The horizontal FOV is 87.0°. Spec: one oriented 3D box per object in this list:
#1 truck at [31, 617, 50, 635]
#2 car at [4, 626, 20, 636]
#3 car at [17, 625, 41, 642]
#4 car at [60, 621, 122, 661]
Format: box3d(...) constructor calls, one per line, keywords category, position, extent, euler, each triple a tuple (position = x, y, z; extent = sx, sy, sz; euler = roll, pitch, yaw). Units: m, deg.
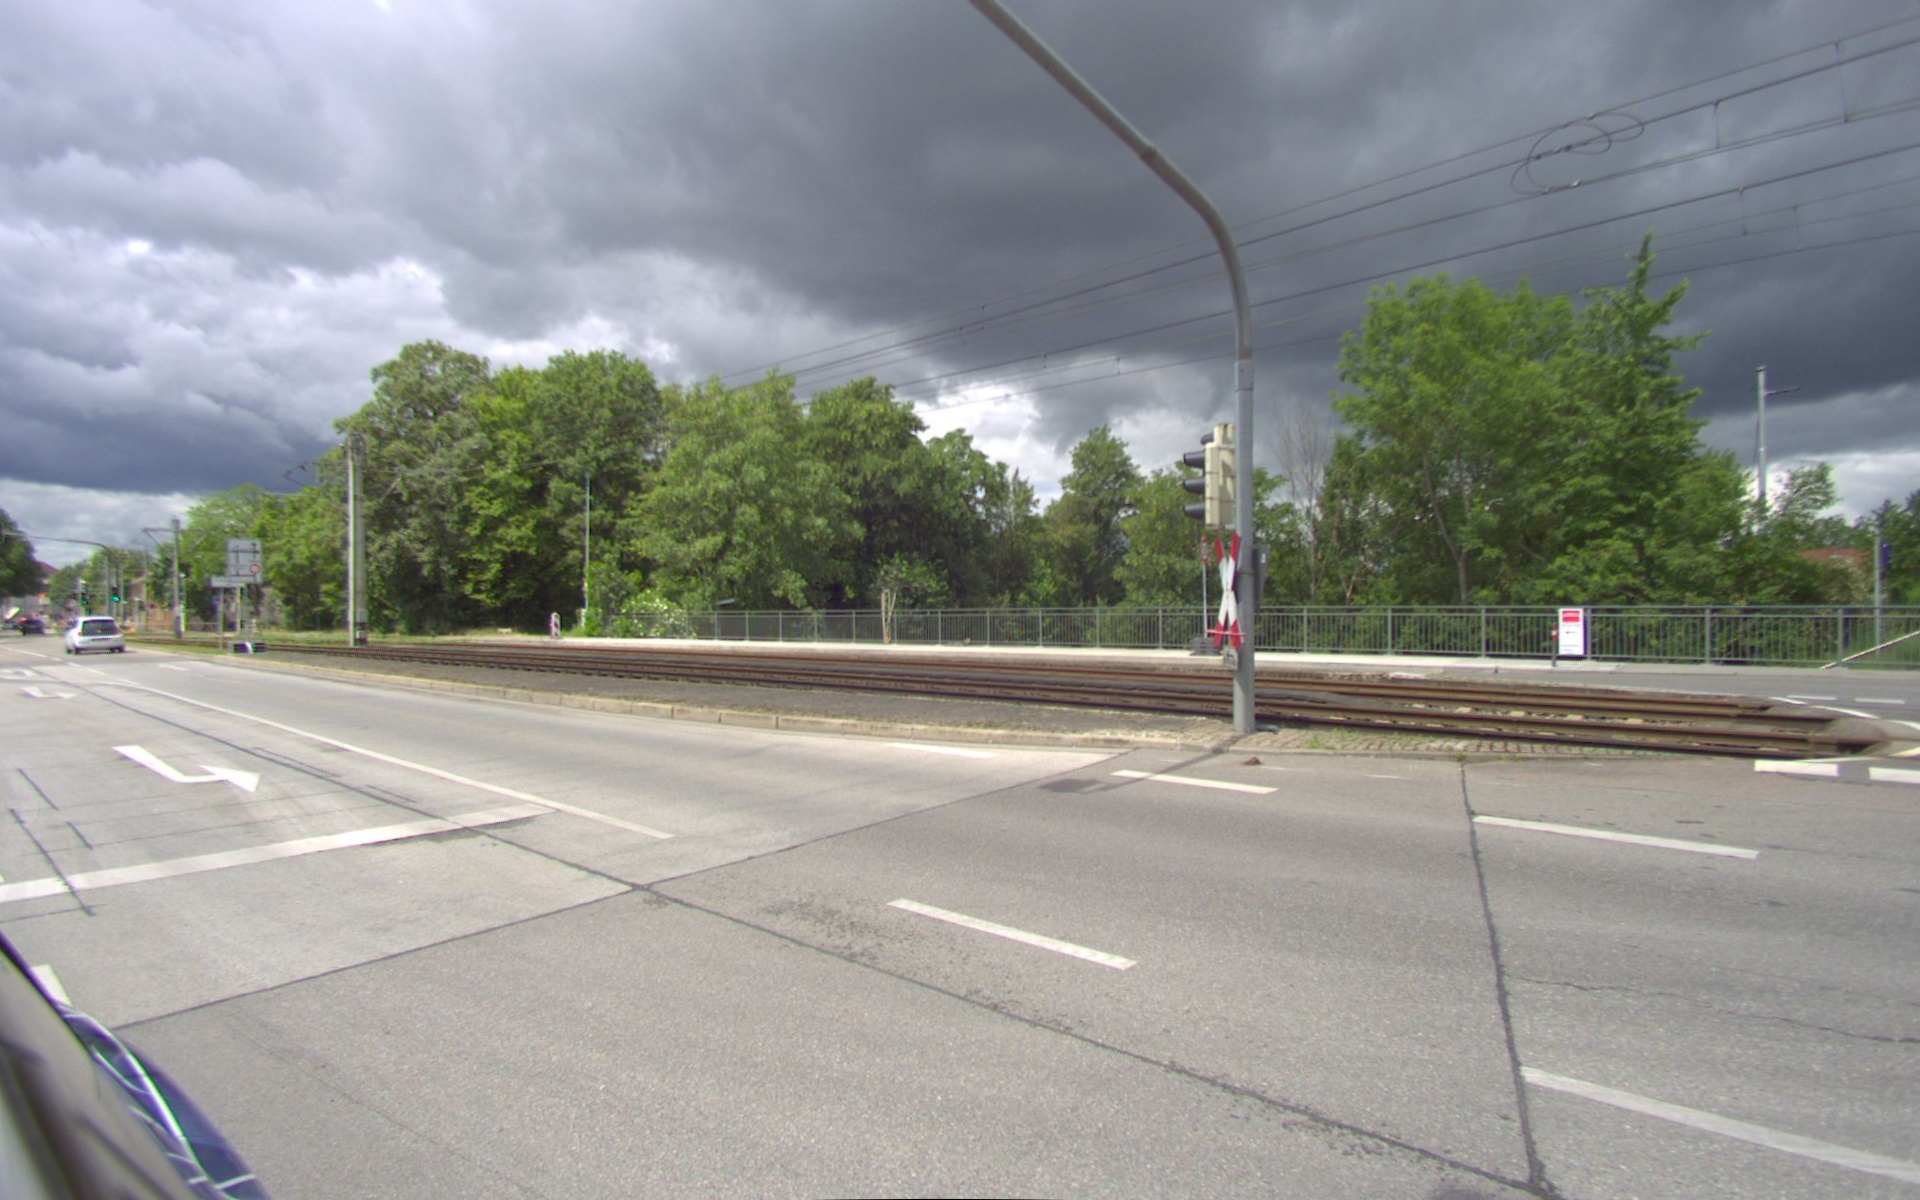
box3d(category="truck", position=(-153.365, 4.297, 168.723), extent=(2.067, 2.759, 5.101), euler=(-3, 2, -45))
box3d(category="car", position=(-160.675, 5.245, 171.563), extent=(1.561, 1.496, 3.813), euler=(-3, 1, -39))
box3d(category="car", position=(-96.427, 3.451, 104.829), extent=(1.687, 1.688, 4.231), euler=(-3, 1, -44))
box3d(category="car", position=(-36.502, 1.683, 42.502), extent=(3.655, 1.538, 1.576), euler=(-1, 0, 43))
